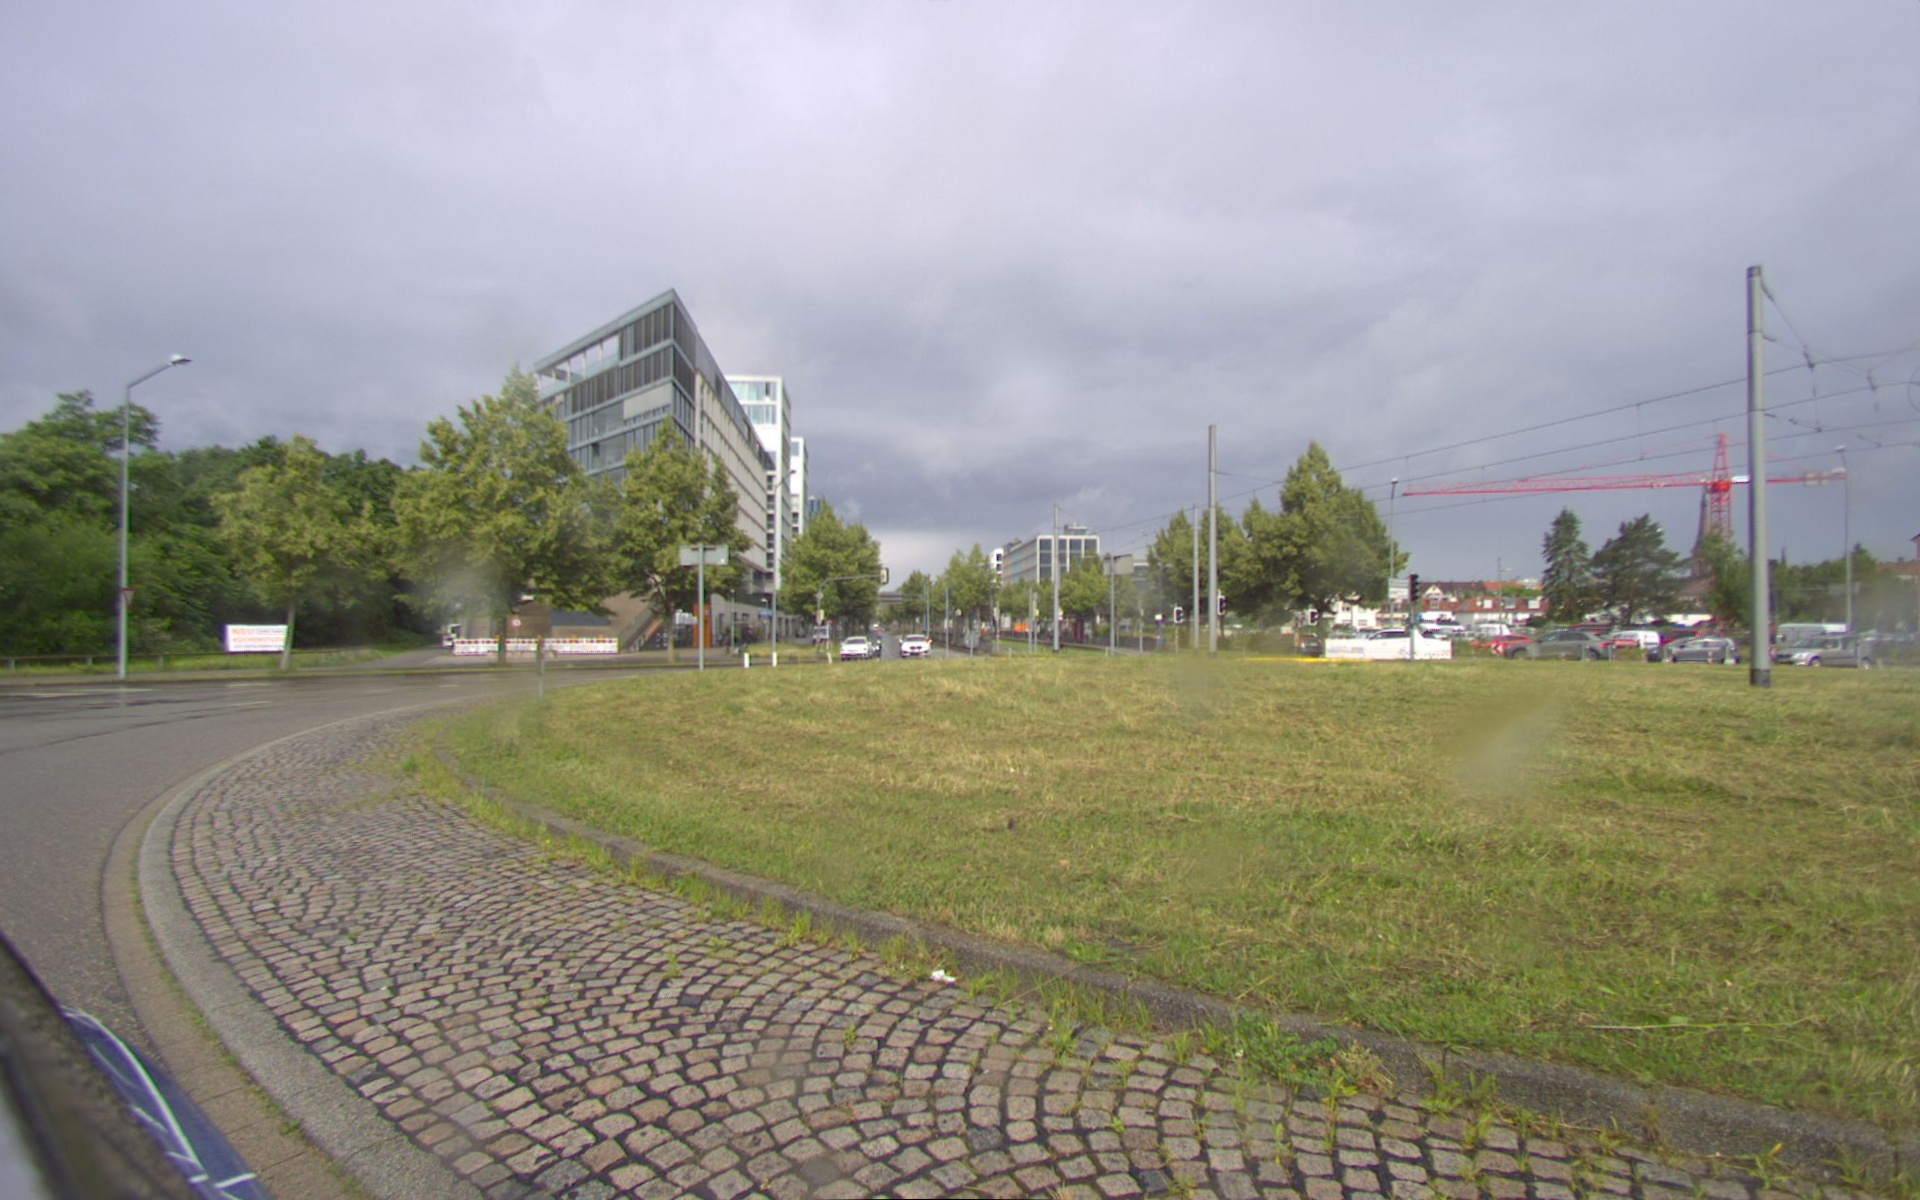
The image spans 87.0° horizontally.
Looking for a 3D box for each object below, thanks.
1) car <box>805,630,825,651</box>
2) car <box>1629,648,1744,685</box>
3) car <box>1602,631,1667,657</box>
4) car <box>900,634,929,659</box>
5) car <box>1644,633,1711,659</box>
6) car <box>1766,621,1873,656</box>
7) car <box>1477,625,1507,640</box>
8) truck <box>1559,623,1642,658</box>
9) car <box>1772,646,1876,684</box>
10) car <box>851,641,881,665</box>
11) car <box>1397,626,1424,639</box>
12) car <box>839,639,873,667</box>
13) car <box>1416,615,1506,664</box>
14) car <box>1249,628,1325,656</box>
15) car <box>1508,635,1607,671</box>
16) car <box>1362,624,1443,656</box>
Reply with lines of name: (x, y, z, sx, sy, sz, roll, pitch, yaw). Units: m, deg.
car: (-16.506, 4.620, 115.229, 1.839, 2.378, 4.473, 0, -3, -3)
car: (33.644, 3.077, 47.022, 3.973, 1.597, 1.784, -1, -1, 22)
car: (49.626, 3.193, 74.504, 1.829, 1.713, 4.005, 1, 0, -5)
car: (-2.888, 2.903, 63.447, 1.701, 1.519, 3.907, 0, -2, -3)
car: (52.044, 3.329, 73.496, 1.902, 1.713, 4.001, 0, 0, -1)
car: (58.896, 2.599, 69.572, 2.015, 2.101, 6.264, 0, 0, 1)
car: (64.927, 3.960, 123.523, 1.477, 1.736, 3.605, 0, -2, -7)
truck: (45.340, 2.811, 71.846, 2.366, 2.228, 6.094, 0, 0, 4)
car: (37.912, 2.826, 44.447, 3.444, 1.572, 1.553, 0, -1, -8)
car: (-6.739, 3.828, 72.984, 1.840, 1.685, 4.471, -1, -3, -1)
car: (56.741, 4.112, 127.529, 1.527, 1.572, 3.503, 0, -2, -5)
car: (-6.512, 3.376, 63.950, 1.839, 1.685, 4.472, -1, -3, -2)
car: (27.308, 2.118, 55.231, 1.771, 2.587, 4.003, 1, -2, -44)
car: (18.661, 2.411, 57.907, 1.772, 1.529, 4.012, 1, -2, -29)
car: (27.270, 2.381, 46.226, 3.676, 1.572, 1.552, -2, -2, 41)
car: (22.441, 2.013, 51.445, 1.475, 1.522, 3.509, 0, -2, -35)
